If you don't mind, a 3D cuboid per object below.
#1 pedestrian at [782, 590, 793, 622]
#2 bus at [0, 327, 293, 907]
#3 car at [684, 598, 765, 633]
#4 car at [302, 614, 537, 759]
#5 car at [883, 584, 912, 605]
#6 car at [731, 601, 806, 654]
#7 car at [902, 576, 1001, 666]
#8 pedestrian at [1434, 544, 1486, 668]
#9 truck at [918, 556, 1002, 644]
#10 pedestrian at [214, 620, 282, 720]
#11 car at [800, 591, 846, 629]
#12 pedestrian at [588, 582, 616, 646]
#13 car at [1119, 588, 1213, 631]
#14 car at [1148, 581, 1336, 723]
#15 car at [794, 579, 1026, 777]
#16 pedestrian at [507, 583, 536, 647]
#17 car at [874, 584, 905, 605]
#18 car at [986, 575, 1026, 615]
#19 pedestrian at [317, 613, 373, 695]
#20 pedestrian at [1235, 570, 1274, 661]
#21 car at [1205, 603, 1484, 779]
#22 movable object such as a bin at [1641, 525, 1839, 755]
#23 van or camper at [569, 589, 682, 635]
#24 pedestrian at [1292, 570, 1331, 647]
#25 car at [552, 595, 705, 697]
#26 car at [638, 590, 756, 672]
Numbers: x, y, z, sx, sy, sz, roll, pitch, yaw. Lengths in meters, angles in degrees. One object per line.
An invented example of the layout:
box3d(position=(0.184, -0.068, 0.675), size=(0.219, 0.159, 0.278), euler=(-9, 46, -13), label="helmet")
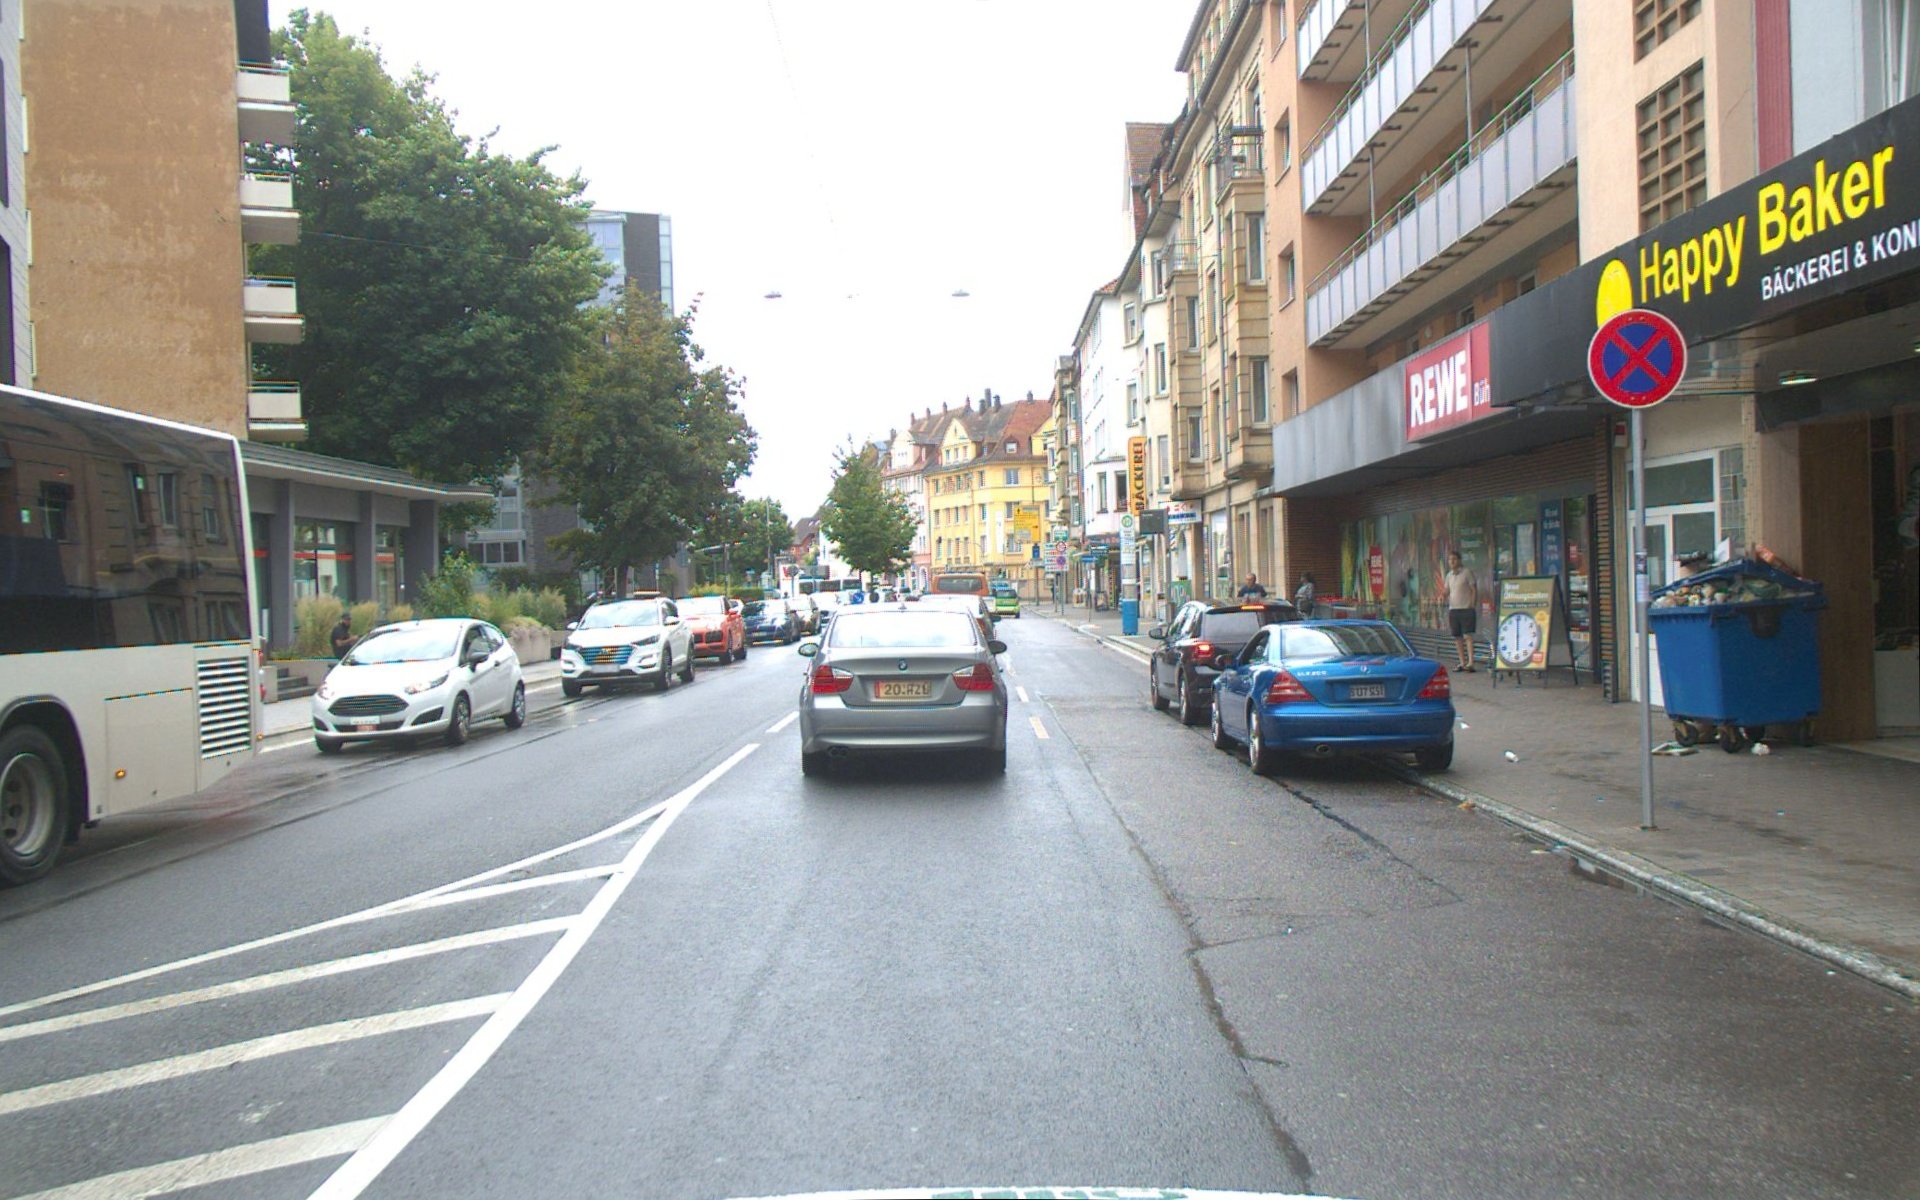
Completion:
box3d(position=(-9.778, 0.357, 93.656), size=(0.563, 1.793, 0.580), euler=(-2, 0, -6), label="pedestrian")
box3d(position=(-6.776, 0.175, 7.251), size=(2.749, 3.302, 11.958), euler=(-6, 0, -1), label="bus")
box3d(position=(-11.497, 0.751, 80.792), size=(3.544, 1.597, 1.721), euler=(-1, 0, -33), label="car")
box3d(position=(-6.455, 0.970, 20.174), size=(1.582, 1.489, 3.806), euler=(-1, 1, 0), label="car")
box3d(position=(-6.876, -0.612, 181.084), size=(1.739, 2.218, 3.968), euler=(1, 0, -25), label="car")
box3d(position=(-6.348, 0.868, 55.310), size=(1.915, 1.538, 4.912), euler=(-3, 0, -1), label="car")
box3d(position=(-0.181, 0.404, 31.986), size=(1.763, 1.590, 3.999), euler=(-1, -1, -1), label="car")
box3d(position=(7.785, 0.088, 25.750), size=(0.583, 1.891, 0.727), euler=(-1, -1, 3), label="pedestrian")
box3d(position=(-0.006, -0.023, 46.043), size=(2.179, 2.289, 5.062), euler=(-1, 0, 0), label="truck")
box3d(position=(-12.497, 1.219, 29.031), size=(0.697, 1.708, 0.799), euler=(-1, 0, 28), label="pedestrian")
box3d(position=(-6.280, 0.434, 76.214), size=(1.783, 1.596, 4.088), euler=(-2, 0, -1), label="car")
box3d(position=(-10.602, 0.399, 48.931), size=(0.710, 1.858, 0.718), euler=(-1, 1, -19), label="pedestrian")
box3d(position=(9.152, 0.434, 73.477), size=(4.049, 1.803, 1.875), euler=(-1, 0, 8), label="car")
box3d(position=(3.434, 0.569, 20.814), size=(1.694, 1.574, 3.982), euler=(-1, 1, 0), label="car")
box3d(position=(-0.414, 0.622, 14.962), size=(1.763, 1.490, 4.370), euler=(-1, -1, -1), label="car")
box3d(position=(-12.973, 0.443, 48.883), size=(0.711, 1.858, 0.849), euler=(-1, 1, -22), label="pedestrian")
box3d(position=(-7.116, -0.553, 167.445), size=(1.965, 2.049, 3.975), euler=(-2, 0, -21), label="car")
box3d(position=(2.433, -0.264, 88.674), size=(1.953, 2.049, 3.999), euler=(-1, 0, -1), label="car")
box3d(position=(-11.152, 0.970, 29.986), size=(0.580, 1.445, 0.723), euler=(-1, 0, 35), label="pedestrian")
box3d(position=(5.642, 0.290, 31.712), size=(0.612, 1.680, 0.749), euler=(-1, 3, 2), label="pedestrian")
box3d(position=(3.369, 0.736, 15.182), size=(1.699, 1.333, 3.767), euler=(-1, 1, 0), label="car")
box3d(position=(6.579, 0.326, 14.035), size=(0.979, 1.824, 1.296), euler=(-2, -1, -2), label="movable object such as a bin")
box3d(position=(-15.799, 0.564, 78.145), size=(4.898, 2.049, 1.980), euler=(-1, 0, -30), label="van or camper")
box3d(position=(7.391, 0.179, 34.822), size=(0.552, 1.600, 0.624), euler=(-1, 0, -16), label="pedestrian")
box3d(position=(-5.909, 0.792, 29.960), size=(1.856, 1.600, 4.124), euler=(-4, -1, 0), label="car")
box3d(position=(-6.461, 0.753, 41.221), size=(2.063, 1.795, 5.059), euler=(-3, -1, 0), label="car")
